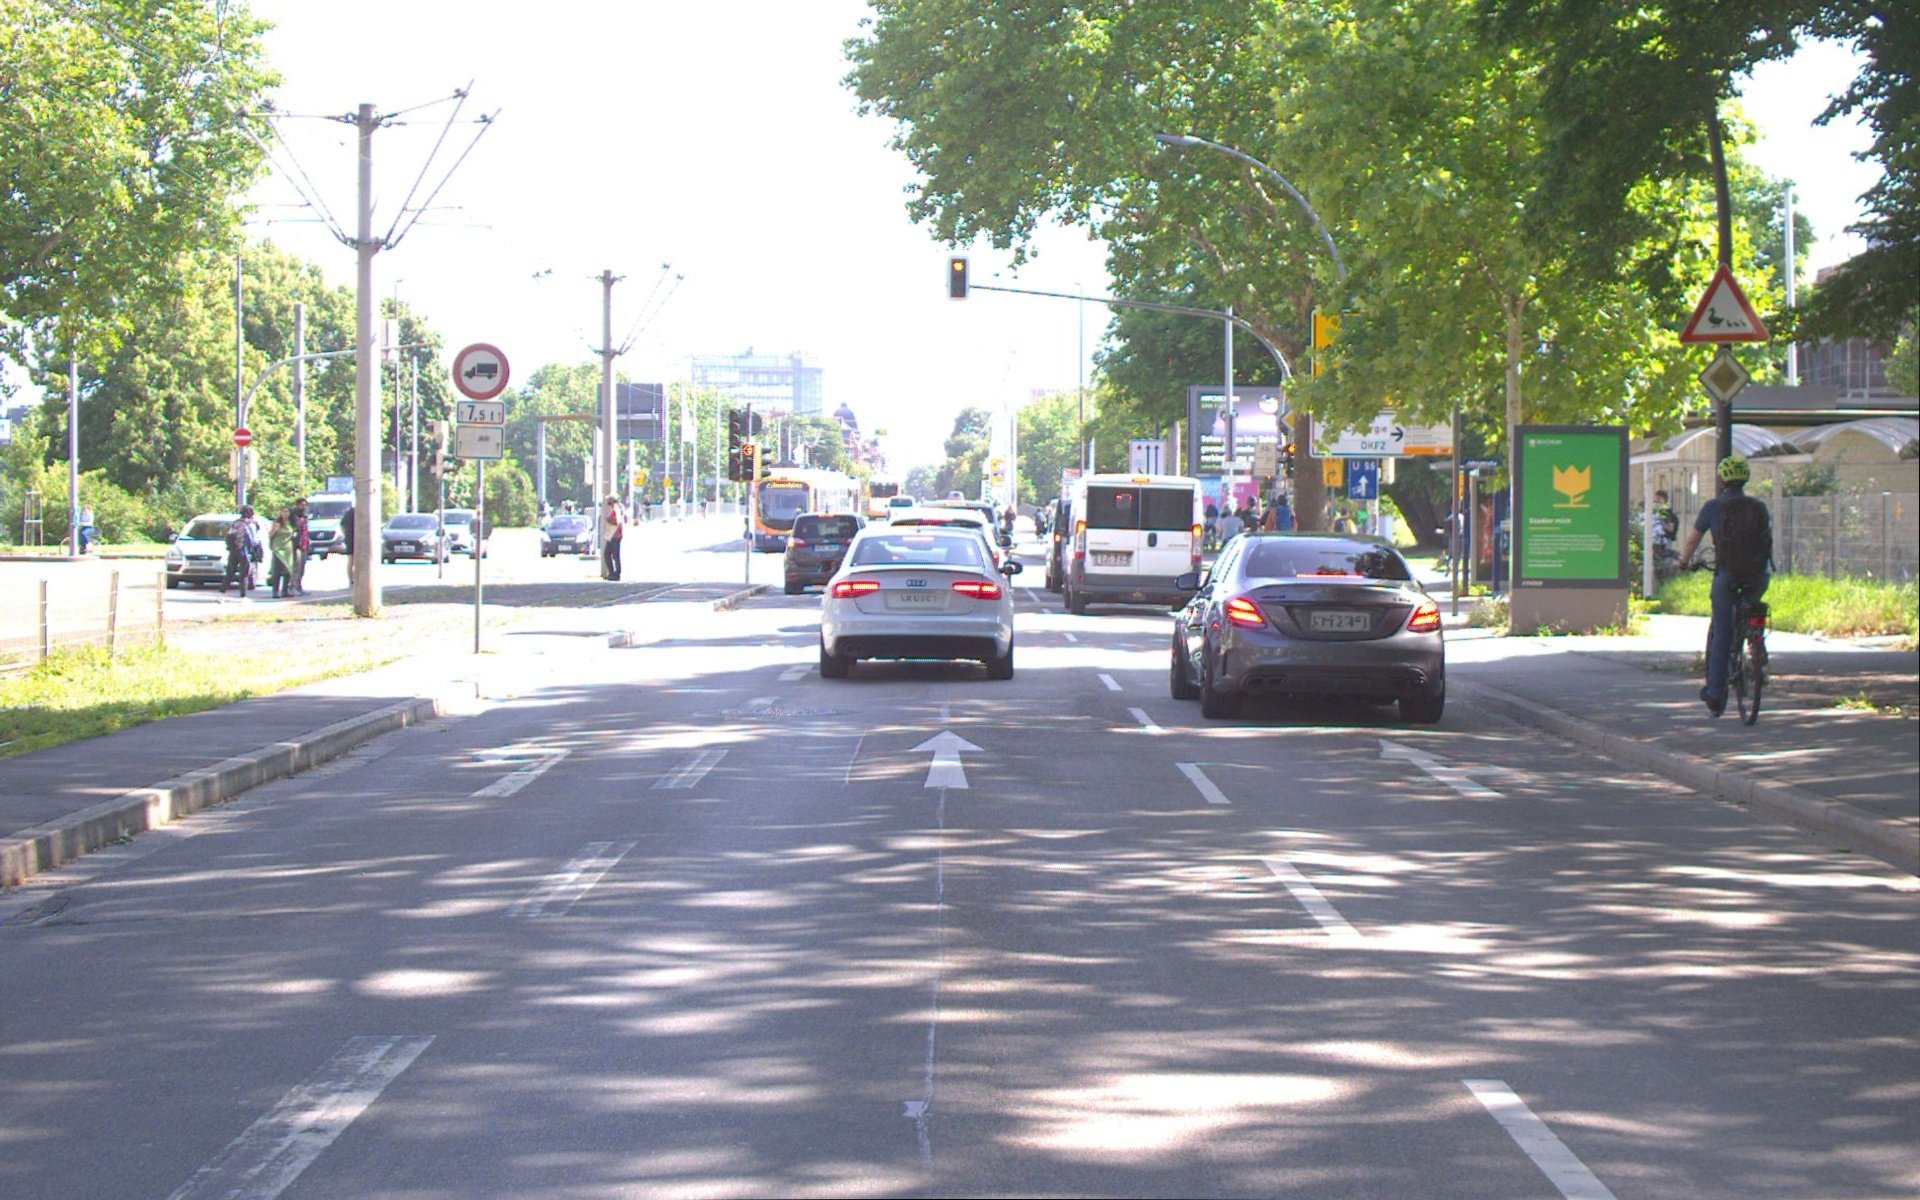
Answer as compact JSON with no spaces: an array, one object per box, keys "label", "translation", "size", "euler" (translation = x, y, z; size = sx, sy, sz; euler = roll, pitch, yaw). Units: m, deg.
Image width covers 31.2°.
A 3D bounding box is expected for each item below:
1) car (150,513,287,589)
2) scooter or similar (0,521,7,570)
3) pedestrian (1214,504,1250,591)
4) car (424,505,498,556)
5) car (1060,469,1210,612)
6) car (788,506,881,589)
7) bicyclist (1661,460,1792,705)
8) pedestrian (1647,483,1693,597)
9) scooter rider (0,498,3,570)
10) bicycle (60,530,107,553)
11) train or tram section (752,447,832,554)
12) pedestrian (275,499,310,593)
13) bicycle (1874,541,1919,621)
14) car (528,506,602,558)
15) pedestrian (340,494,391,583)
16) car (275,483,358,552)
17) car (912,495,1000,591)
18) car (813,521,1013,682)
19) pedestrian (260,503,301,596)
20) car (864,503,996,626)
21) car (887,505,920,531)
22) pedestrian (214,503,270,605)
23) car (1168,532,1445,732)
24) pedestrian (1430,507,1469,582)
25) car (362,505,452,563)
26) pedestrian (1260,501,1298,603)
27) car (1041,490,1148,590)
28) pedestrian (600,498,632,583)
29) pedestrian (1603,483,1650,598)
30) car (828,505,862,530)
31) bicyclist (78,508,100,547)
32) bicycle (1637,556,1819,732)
[{"label":"car","translation":[-15.140,-1.029,70.424],"size":[1.796,1.483,4.385],"euler":[1,1,1]},{"label":"scooter or similar","translation":[-22.175,-1.248,78.371],"size":[0.547,1.109,1.248],"euler":[1,1,1]},{"label":"pedestrian","translation":[5.369,-1.031,67.870],"size":[0.602,1.689,0.953],"euler":[-2,1,1]},{"label":"car","translation":[-16.169,-2.275,111.488],"size":[1.764,1.603,3.860],"euler":[1,1,1]},{"label":"car","translation":[2.797,-0.983,55.898],"size":[2.230,2.204,4.162],"euler":[1,1,0]},{"label":"car","translation":[-2.548,-1.099,70.657],"size":[1.729,1.625,4.000],"euler":[1,1,0]},{"label":"bicyclist","translation":[5.296,-0.132,23.798],"size":[0.634,1.642,0.979],"euler":[-2,1,-1]},{"label":"pedestrian","translation":[11.793,-1.002,57.117],"size":[0.613,1.889,0.597],"euler":[0,1,-2]},{"label":"scooter rider","translation":[-22.161,-1.508,78.372],"size":[0.506,1.626,0.566],"euler":[1,1,1]},{"label":"bicycle","translation":[-28.874,-1.934,113.265],"size":[0.492,0.728,1.619],"euler":[2,2,29]},{"label":"train or tram section","translation":[-6.512,-3.865,134.036],"size":[2.617,4.001,7.749],"euler":[1,1,1]},{"label":"pedestrian","translation":[-11.980,-0.966,61.716],"size":[0.492,1.673,0.643],"euler":[1,1,1]},{"label":"bicycle","translation":[14.073,-0.289,51.611],"size":[0.389,1.176,1.173],"euler":[1,1,1]},{"label":"car","translation":[-13.460,-2.342,117.422],"size":[1.993,1.728,4.000],"euler":[1,1,1]},{"label":"pedestrian","translation":[-11.727,-1.211,67.815],"size":[0.775,1.728,0.754],"euler":[1,1,9]},{"label":"car","translation":[-22.709,-2.916,121.484],"size":[2.114,2.374,4.000],"euler":[1,1,1]},{"label":"car","translation":[-0.069,-1.185,70.733],"size":[1.729,1.895,4.000],"euler":[1,1,0]},{"label":"car","translation":[-0.411,-0.033,32.820],"size":[1.784,1.416,3.885],"euler":[1,1,0]},{"label":"pedestrian","translation":[-12.053,-0.903,60.976],"size":[0.593,1.641,0.554],"euler":[1,1,1]},{"label":"car","translation":[-0.384,-0.519,47.271],"size":[1.729,1.599,3.885],"euler":[1,1,0]},{"label":"car","translation":[-3.649,-5.292,221.337],"size":[1.871,1.603,4.000],"euler":[1,1,3]},{"label":"pedestrian","translation":[-11.557,-0.746,55.352],"size":[0.757,1.617,0.595],"euler":[0,1,-25]},{"label":"car","translation":[2.644,0.193,27.047],"size":[1.782,1.415,4.000],"euler":[1,1,0]},{"label":"pedestrian","translation":[11.669,-1.322,81.970],"size":[0.778,1.782,0.763],"euler":[1,1,17]},{"label":"car","translation":[-15.760,-1.895,98.127],"size":[1.871,1.603,4.000],"euler":[1,1,1]},{"label":"pedestrian","translation":[6.164,-0.933,66.466],"size":[0.635,1.939,0.719],"euler":[1,1,1]},{"label":"car","translation":[2.778,-1.266,71.660],"size":[2.072,1.992,4.058],"euler":[1,1,0]},{"label":"pedestrian","translation":[-7.781,-1.348,77.672],"size":[0.624,1.911,0.690],"euler":[1,1,1]},{"label":"pedestrian","translation":[11.050,-0.995,56.982],"size":[0.613,1.889,0.694],"euler":[0,1,-3]},{"label":"car","translation":[-7.377,-5.323,221.290],"size":[1.871,1.603,4.000],"euler":[1,1,3]},{"label":"bicyclist","translation":[-28.744,-2.400,113.455],"size":[0.474,1.287,0.496],"euler":[2,1,29]},{"label":"bicycle","translation":[5.299,0.280,23.859],"size":[0.714,1.144,2.178],"euler":[-2,1,-1]}]
